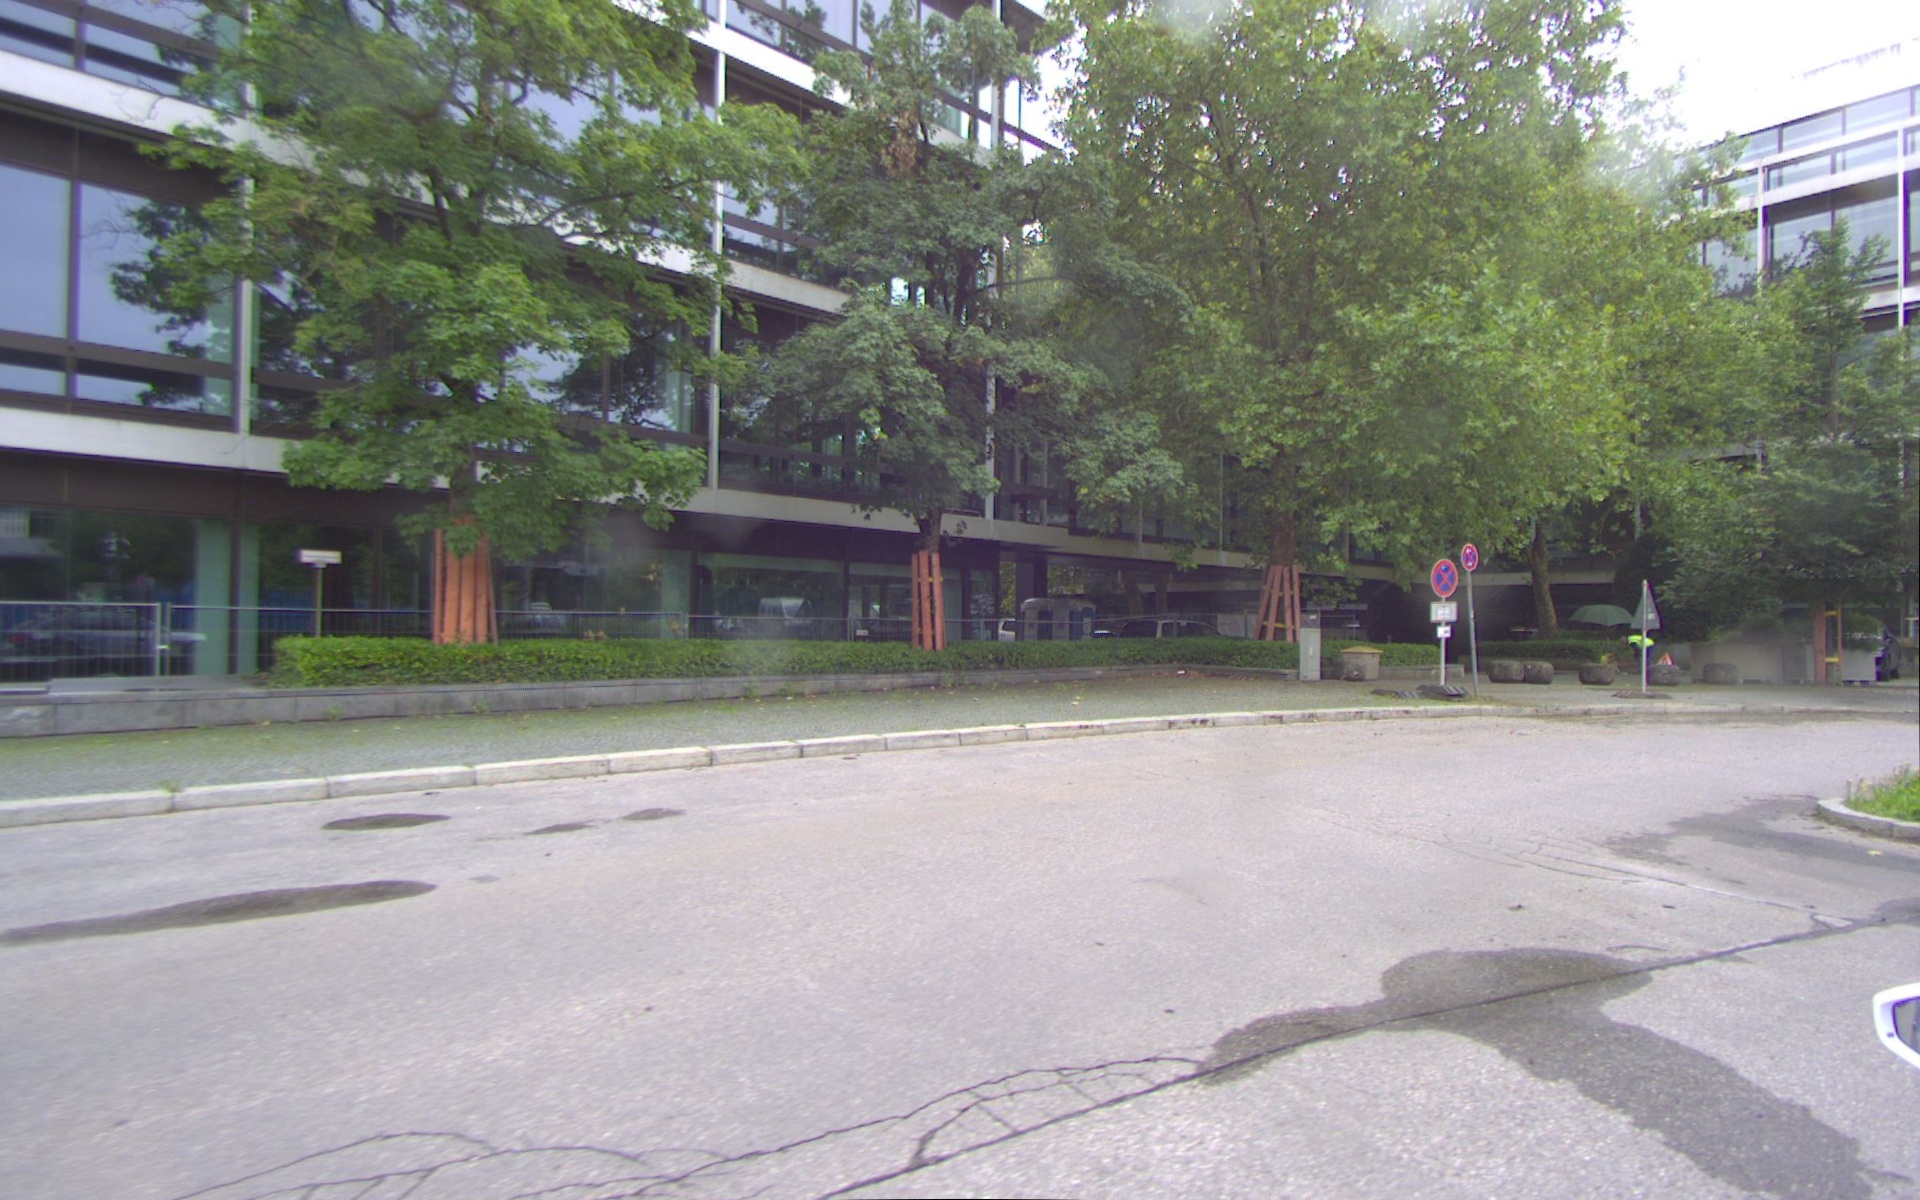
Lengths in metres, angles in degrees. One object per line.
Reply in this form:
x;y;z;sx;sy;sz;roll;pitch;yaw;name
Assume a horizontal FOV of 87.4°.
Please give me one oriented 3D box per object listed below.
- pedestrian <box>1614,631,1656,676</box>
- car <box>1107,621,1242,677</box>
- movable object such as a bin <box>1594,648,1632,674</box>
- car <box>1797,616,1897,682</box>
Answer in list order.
20.149;1.586;29.987;0.537;1.295;0.918;1;-1;-39;pedestrian
6.271;1.389;29.201;3.829;1.493;1.891;2;-1;-40;car
19.765;1.840;30.396;0.567;0.763;0.828;1;-1;-39;movable object such as a bin
25.256;1.347;28.544;1.921;1.744;4.212;-1;-2;44;car
